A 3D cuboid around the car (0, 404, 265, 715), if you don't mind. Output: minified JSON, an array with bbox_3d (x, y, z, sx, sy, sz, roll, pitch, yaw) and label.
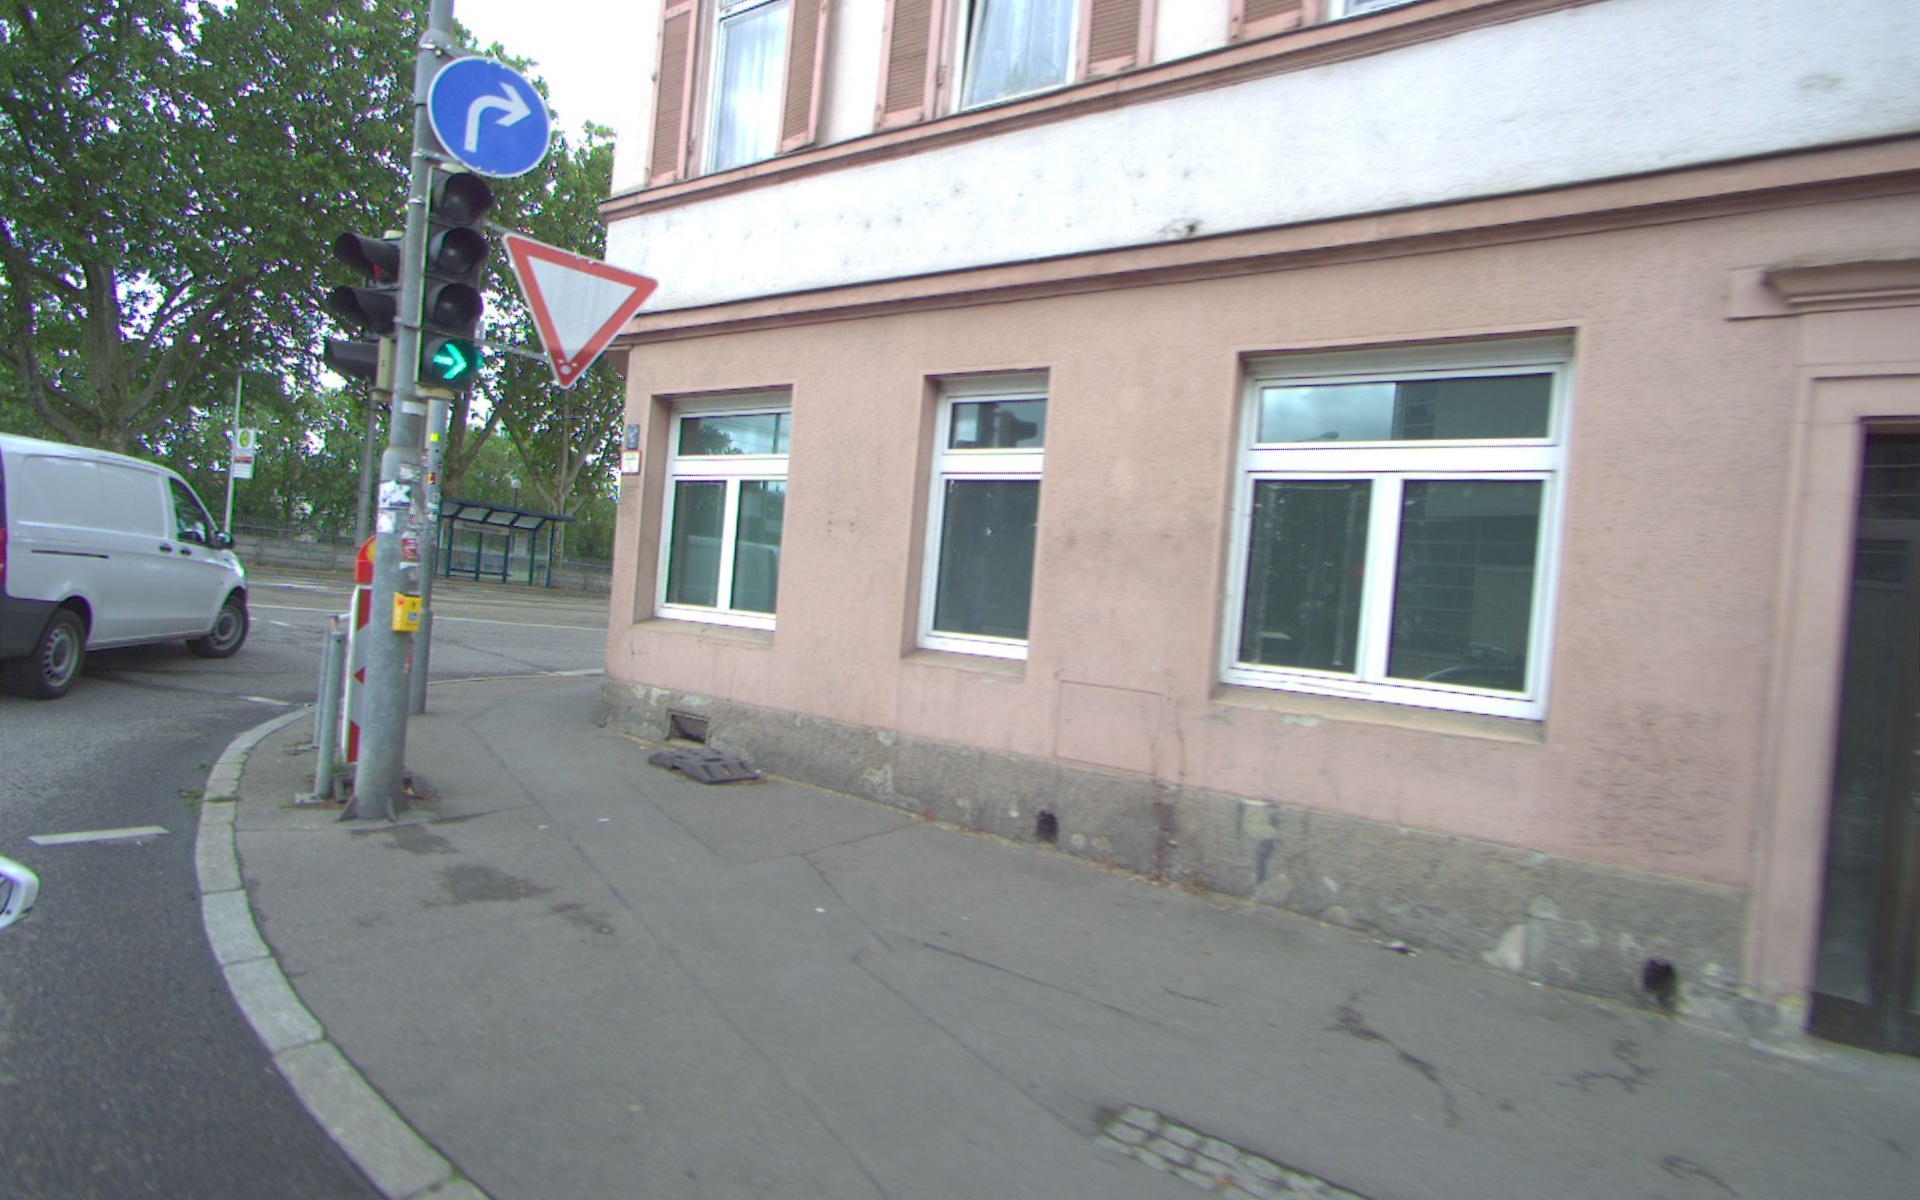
[{"bbox_3d":[-7.864,-0.413,8.436,1.929,2.038,4.679,7,-1,-19],"label":"car"}]
